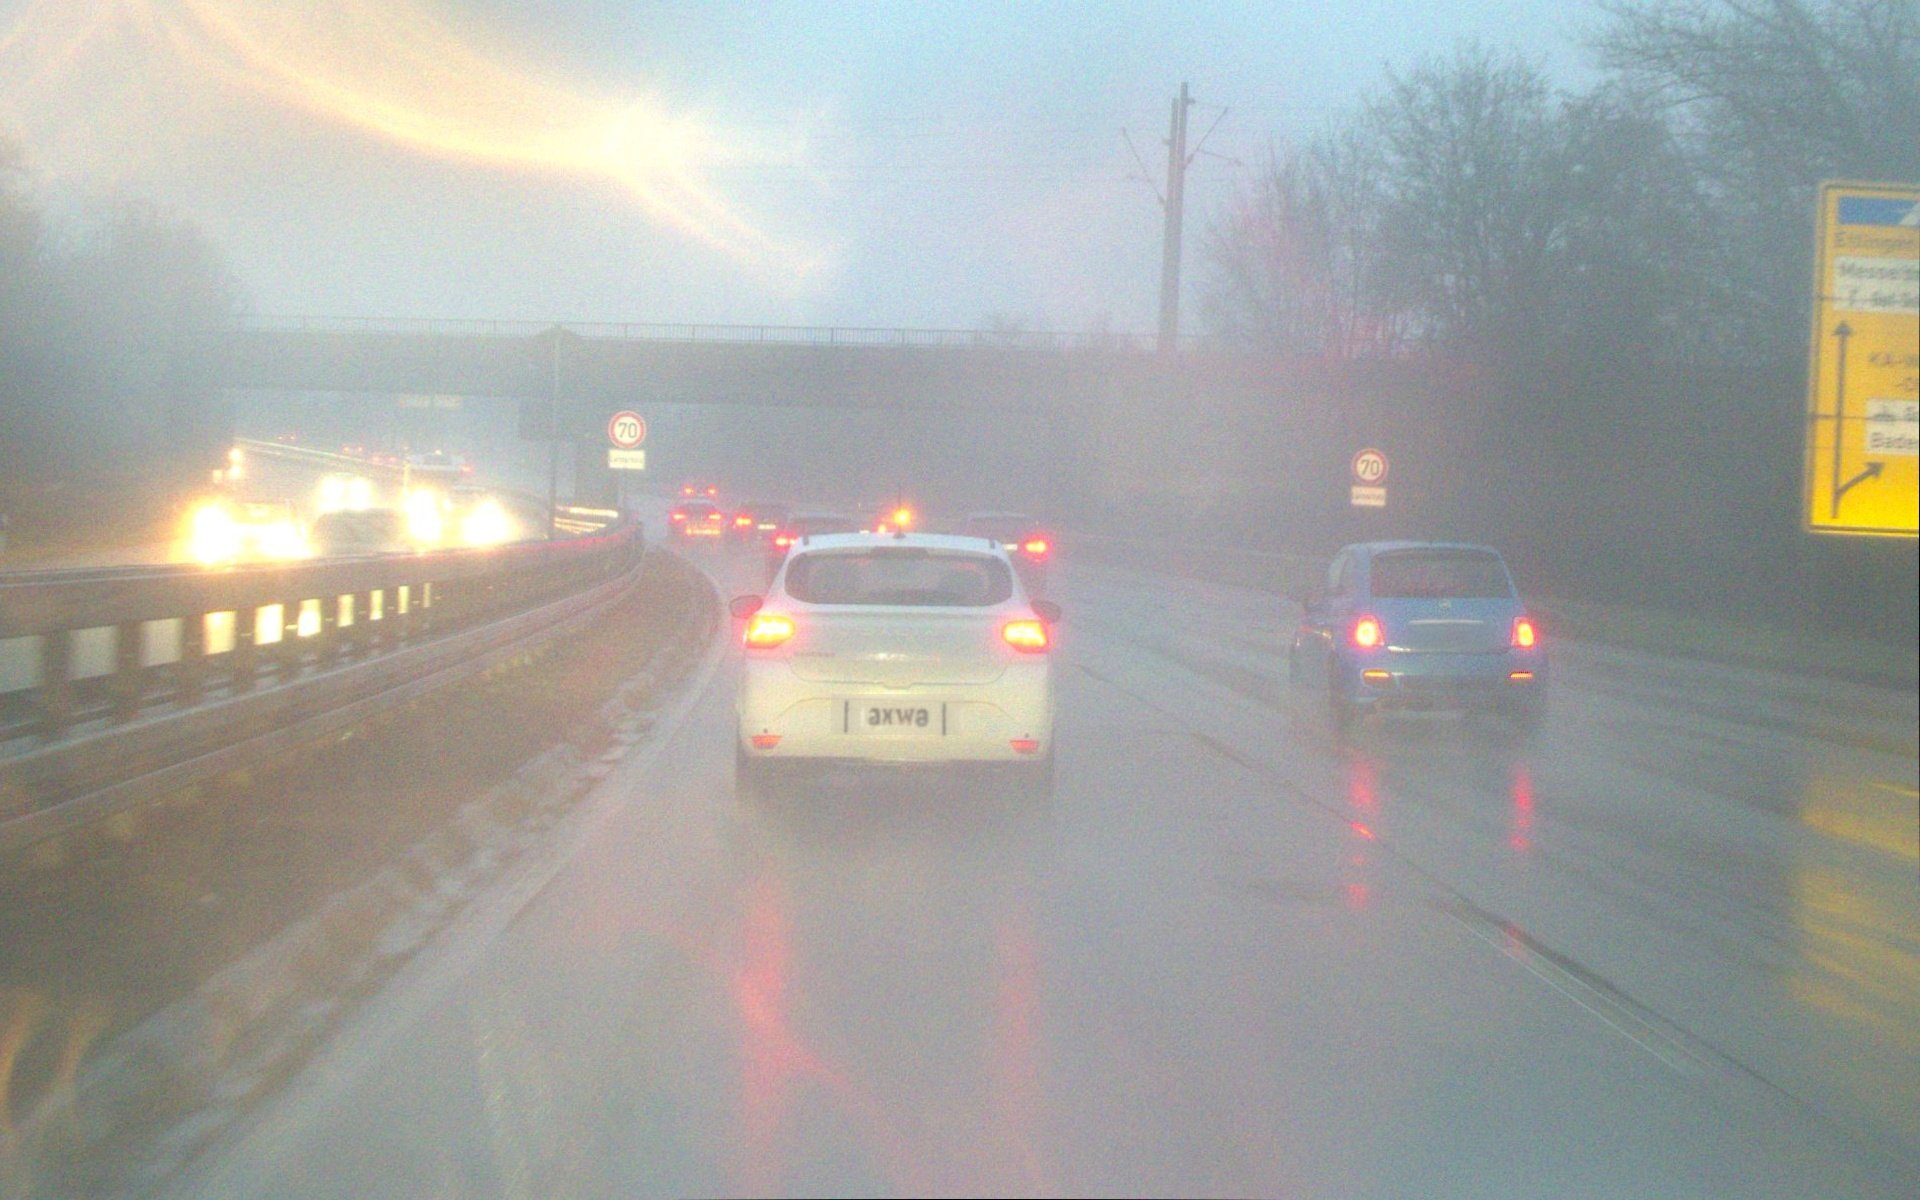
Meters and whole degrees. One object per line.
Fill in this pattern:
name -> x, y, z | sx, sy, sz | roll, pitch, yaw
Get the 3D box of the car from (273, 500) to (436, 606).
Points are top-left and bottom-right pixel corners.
car -> -8.922, -0.696, 50.955 | 1.754, 1.436, 4.000 | 2, 1, -1

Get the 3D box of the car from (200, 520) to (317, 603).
car -> -14.885, -0.819, 73.152 | 1.692, 1.660, 4.433 | 2, 1, -2

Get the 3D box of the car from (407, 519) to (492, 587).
car -> -13.288, -1.227, 89.654 | 1.766, 1.678, 4.001 | 2, 1, -3

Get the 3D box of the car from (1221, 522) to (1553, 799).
car -> 3.348, 0.431, 27.694 | 1.932, 2.012, 3.774 | 2, 1, -3

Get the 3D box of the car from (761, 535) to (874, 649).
car -> -2.713, -0.169, 64.831 | 1.993, 2.007, 4.001 | 2, 1, -3

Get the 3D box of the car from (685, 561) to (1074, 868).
car -> -0.420, 0.591, 20.393 | 2.025, 1.569, 4.000 | 2, 1, 0

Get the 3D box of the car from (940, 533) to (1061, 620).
car -> 0.787, -0.451, 68.749 | 1.932, 1.541, 3.774 | -4, 0, -5
